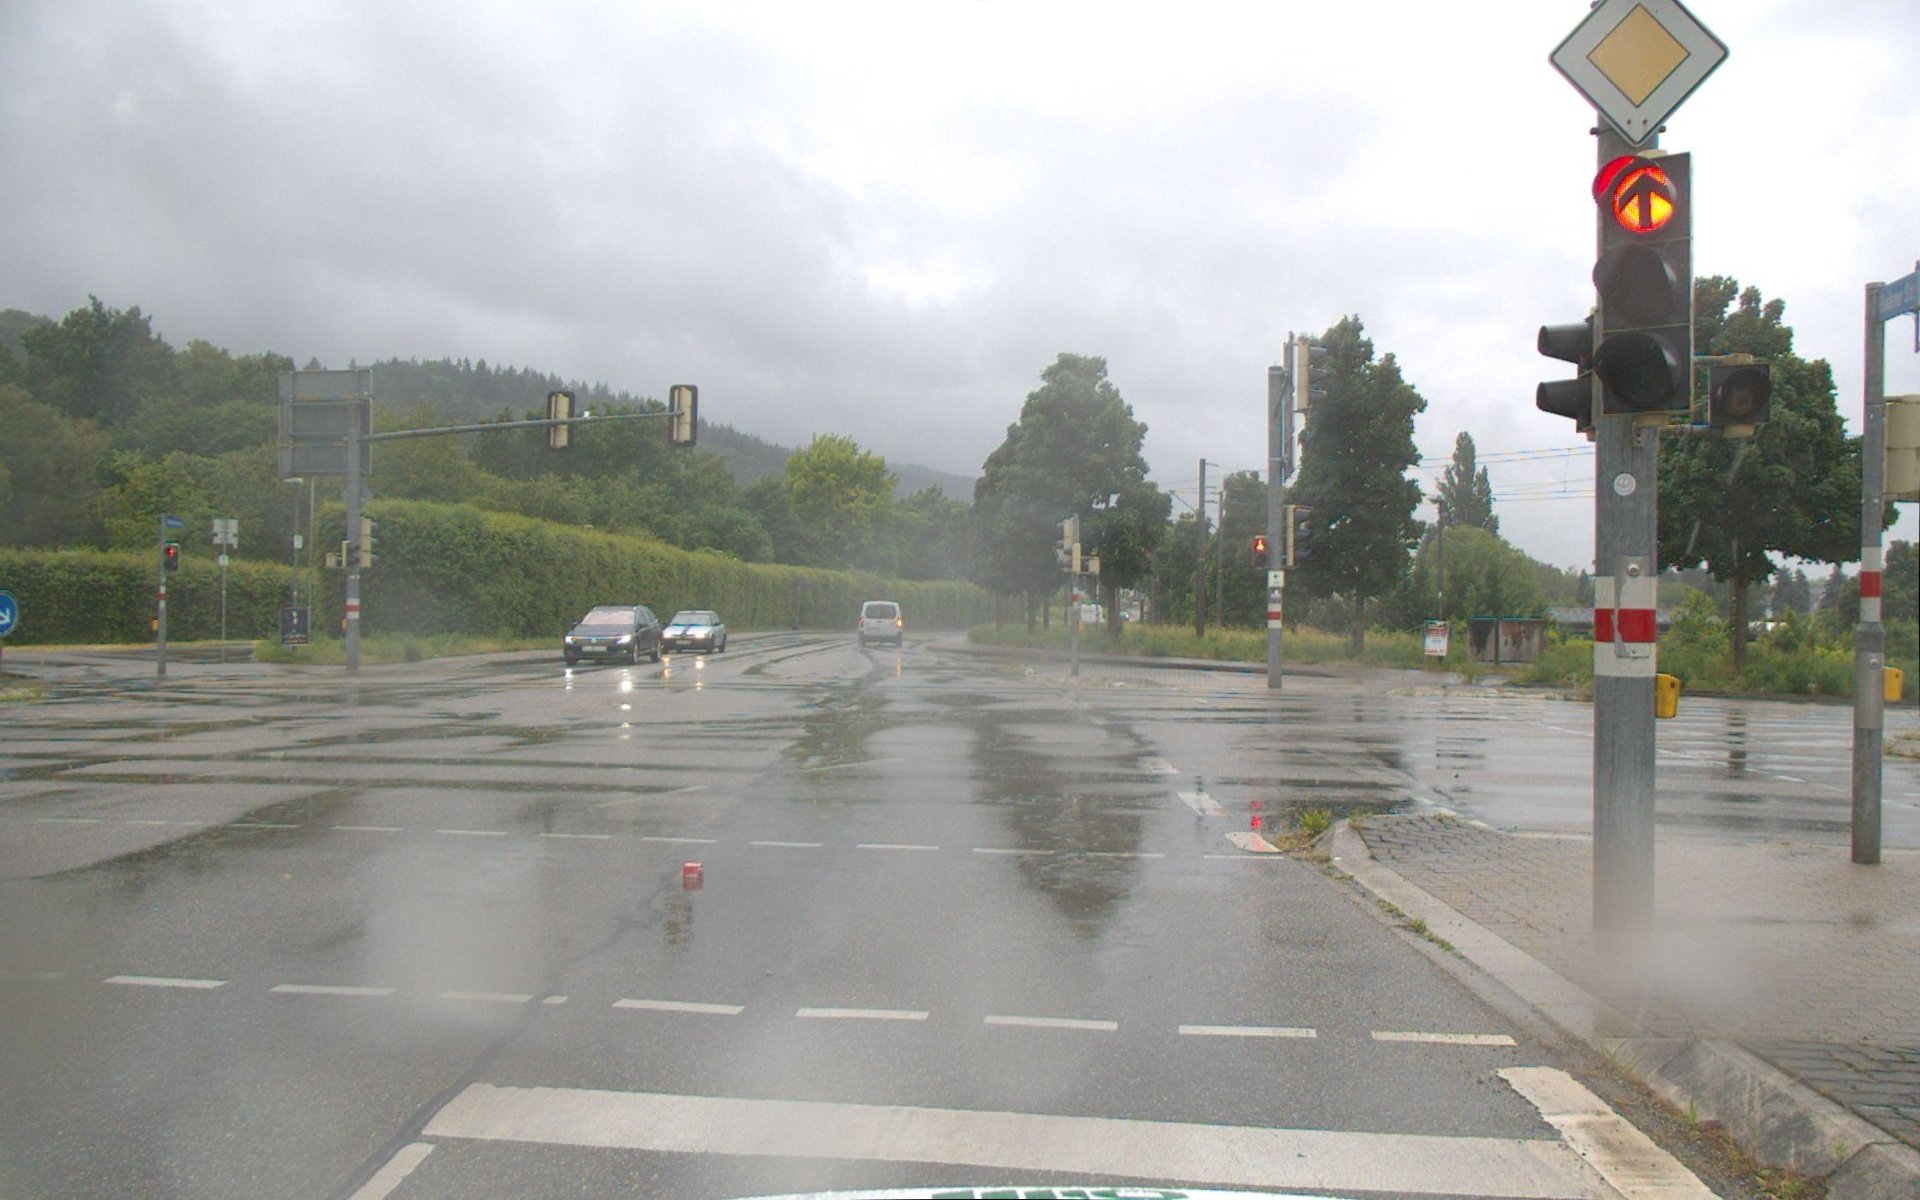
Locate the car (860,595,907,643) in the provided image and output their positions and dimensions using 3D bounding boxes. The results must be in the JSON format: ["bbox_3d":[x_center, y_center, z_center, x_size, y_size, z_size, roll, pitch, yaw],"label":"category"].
[{"bbox_3d":[-3.178,0.766,68.702,1.914,1.937,4.118,0,0,-3],"label":"car"}]

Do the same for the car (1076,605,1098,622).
[{"bbox_3d":[14.618,1.569,190.640,1.891,1.923,4.065,0,0,13],"label":"car"}]

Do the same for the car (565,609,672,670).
[{"bbox_3d":[-8.880,1.004,43.348,1.673,1.491,4.454,0,0,2],"label":"car"}]

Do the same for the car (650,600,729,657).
[{"bbox_3d":[-8.916,0.914,54.760,1.995,1.738,4.065,1,0,-1],"label":"car"}]
